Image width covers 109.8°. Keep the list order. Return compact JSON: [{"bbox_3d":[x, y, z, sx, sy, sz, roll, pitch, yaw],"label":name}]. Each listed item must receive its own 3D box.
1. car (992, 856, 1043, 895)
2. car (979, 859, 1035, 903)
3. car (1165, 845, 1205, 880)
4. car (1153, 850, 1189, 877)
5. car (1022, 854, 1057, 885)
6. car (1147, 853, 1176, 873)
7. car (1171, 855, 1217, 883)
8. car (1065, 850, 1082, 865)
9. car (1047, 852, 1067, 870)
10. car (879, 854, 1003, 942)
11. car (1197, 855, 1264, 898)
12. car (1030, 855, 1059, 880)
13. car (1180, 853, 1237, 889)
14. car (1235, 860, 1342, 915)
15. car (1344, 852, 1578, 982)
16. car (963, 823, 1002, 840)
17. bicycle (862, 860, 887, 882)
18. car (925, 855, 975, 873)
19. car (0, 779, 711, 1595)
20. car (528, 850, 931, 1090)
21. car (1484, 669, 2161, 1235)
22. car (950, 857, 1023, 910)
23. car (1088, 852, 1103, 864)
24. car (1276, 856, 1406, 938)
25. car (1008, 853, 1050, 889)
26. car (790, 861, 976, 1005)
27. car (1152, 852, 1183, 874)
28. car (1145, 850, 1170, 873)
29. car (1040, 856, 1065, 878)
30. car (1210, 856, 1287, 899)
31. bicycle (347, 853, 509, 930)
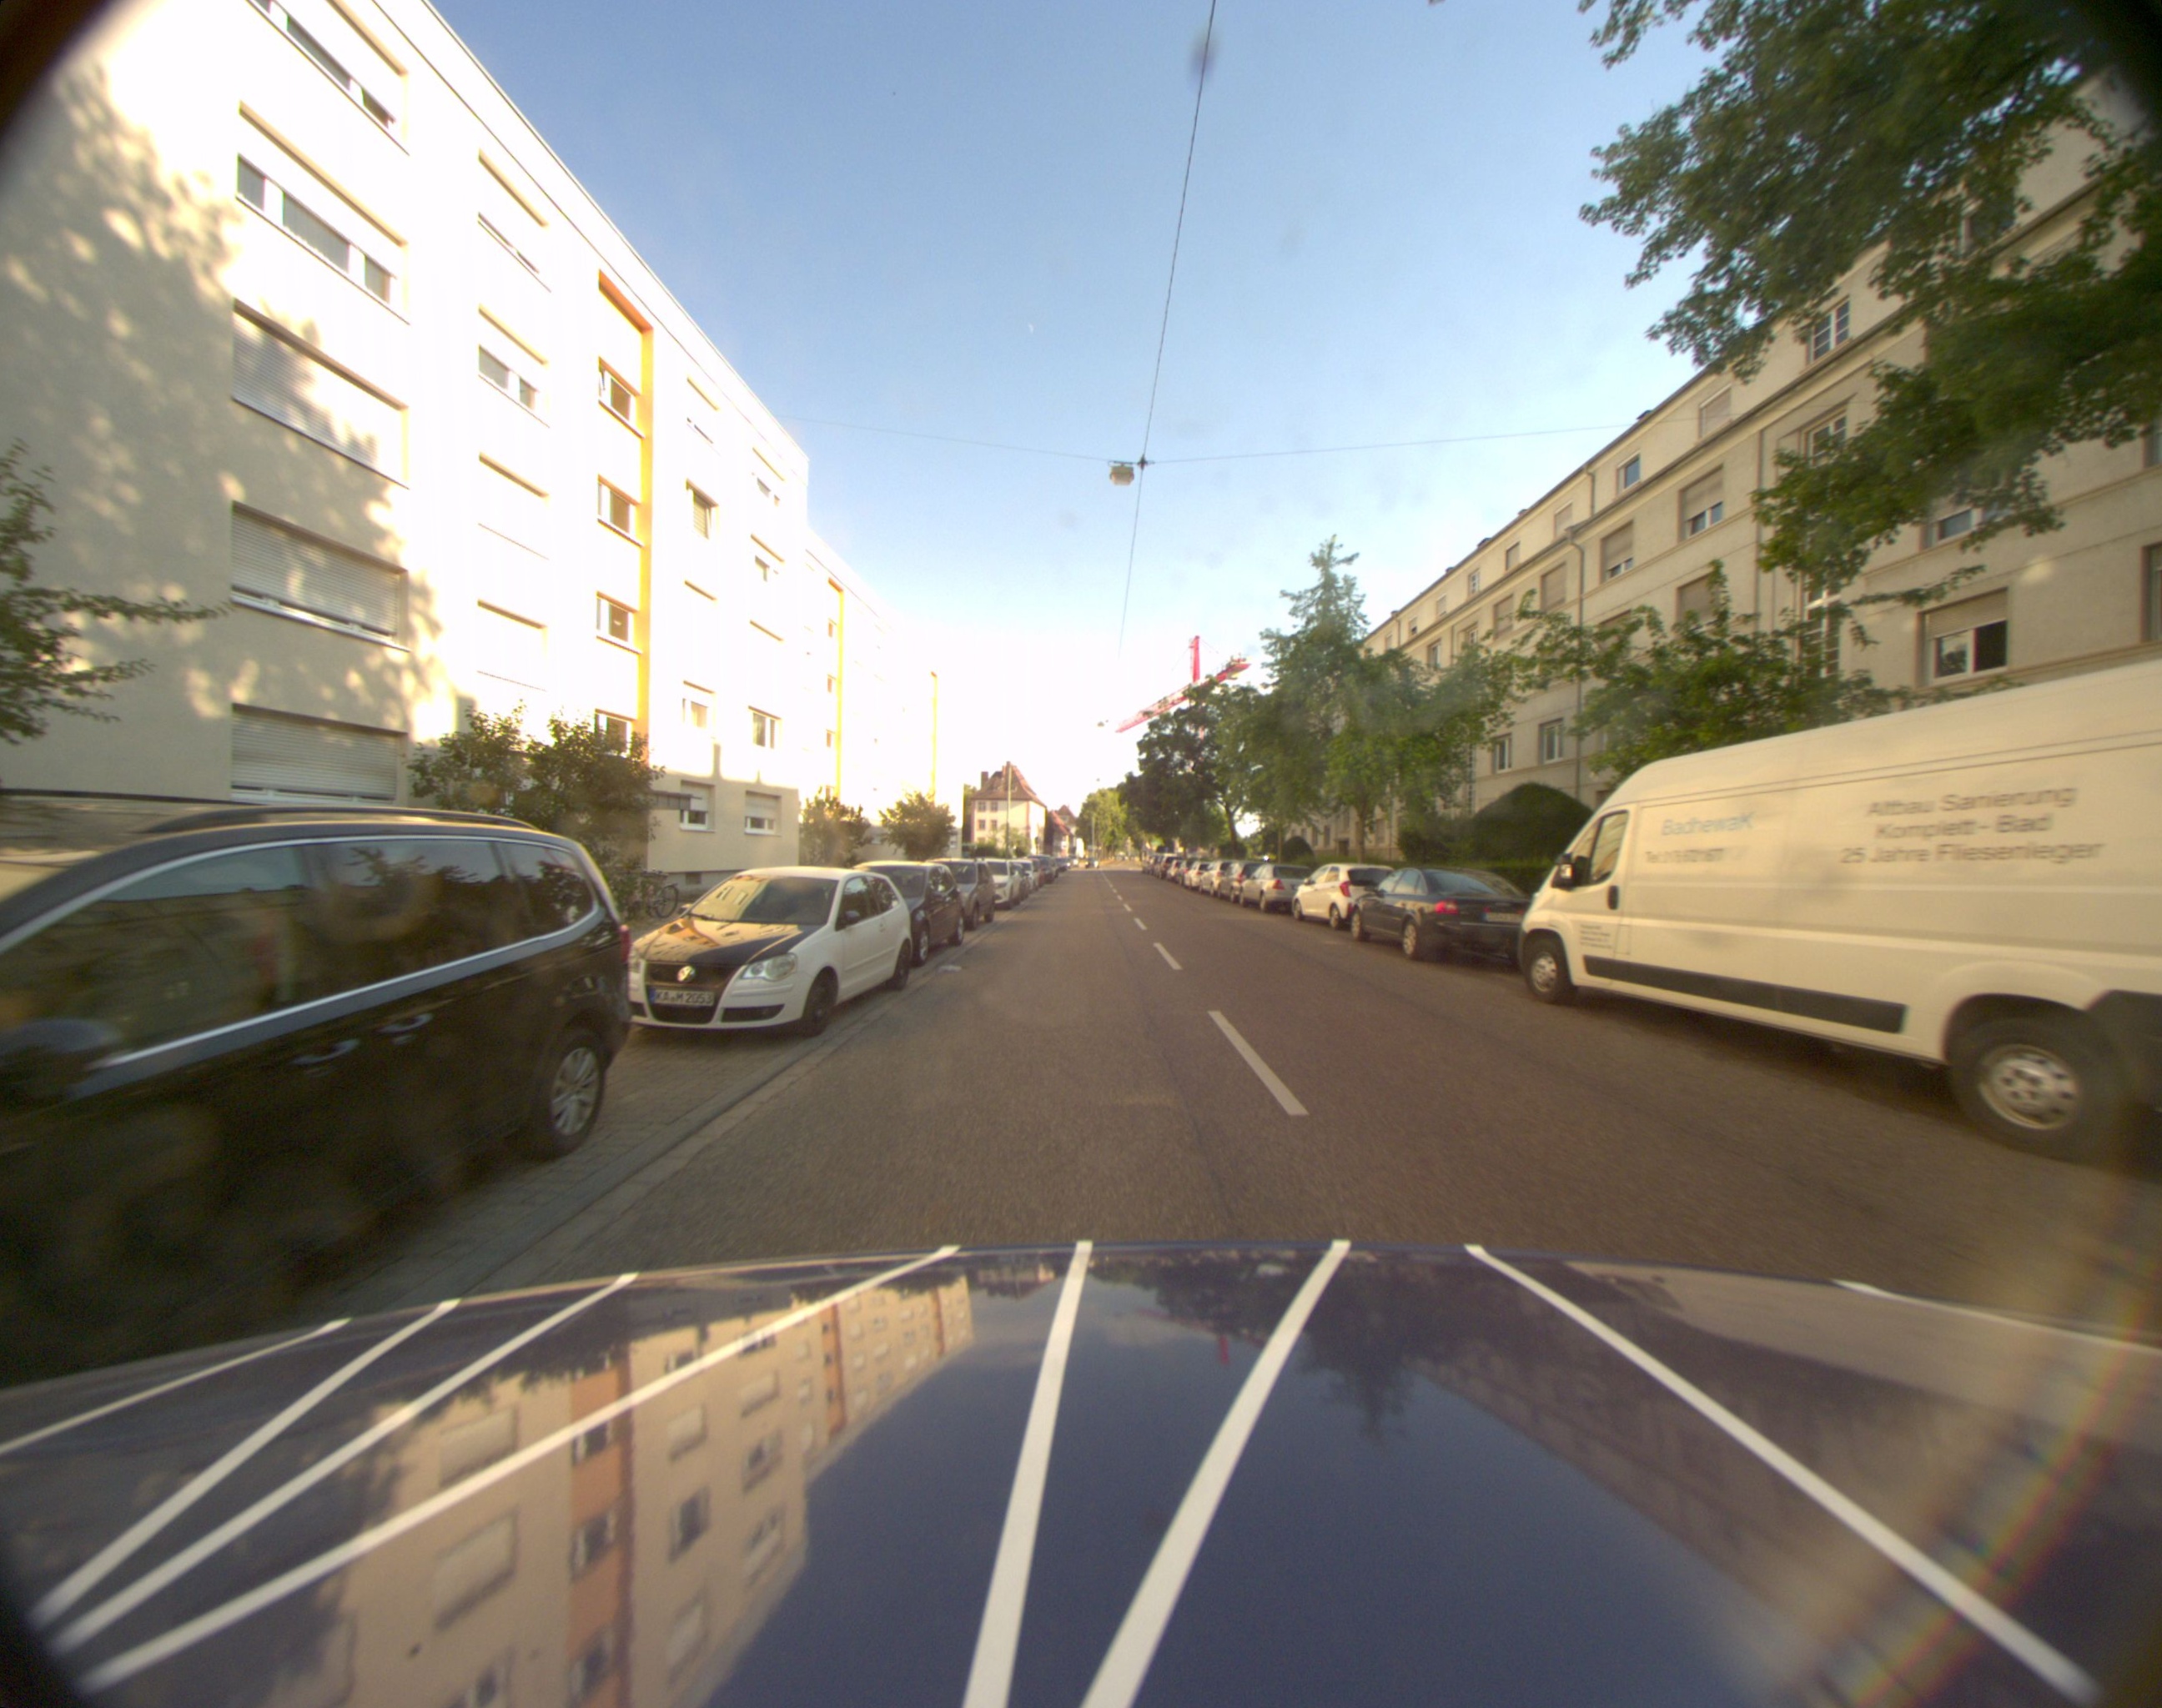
[{"bbox_3d":[-2.838,0.941,34.731,1.776,1.445,3.999,-6,1,1],"label":"car"},{"bbox_3d":[-2.813,1.006,29.616,1.665,1.430,4.312,-2,1,1],"label":"car"},{"bbox_3d":[6.554,0.511,48.395,1.998,2.002,3.999,2,1,1],"label":"car"},{"bbox_3d":[6.339,0.611,54.059,1.878,1.749,4.688,-1,1,-2],"label":"car"},{"bbox_3d":[-2.458,0.901,46.005,1.776,1.668,4.645,1,1,1],"label":"car"},{"bbox_3d":[6.798,0.728,64.631,1.878,1.543,3.998,-3,1,-1],"label":"car"},{"bbox_3d":[6.471,0.835,43.987,1.878,1.426,4.802,0,1,-1],"label":"car"},{"bbox_3d":[-1.065,0.467,106.403,1.925,1.769,4.810,4,1,3],"label":"car"},{"bbox_3d":[-2.420,0.663,75.716,1.891,1.552,4.944,2,1,-2],"label":"car"},{"bbox_3d":[-3.118,0.908,17.852,1.967,1.596,4.278,4,1,1],"label":"car"},{"bbox_3d":[6.279,0.886,32.342,1.878,1.543,3.998,3,1,-1],"label":"car"},{"bbox_3d":[-2.380,0.869,50.454,1.776,1.499,3.999,-2,1,-1],"label":"car"},{"bbox_3d":[6.237,0.792,37.720,2.009,1.543,4.470,-2,1,-1],"label":"car"},{"bbox_3d":[6.061,0.916,22.818,1.878,1.348,4.652,-1,1,-1],"label":"car"},{"bbox_3d":[5.744,0.835,12.075,1.711,1.565,3.818,4,1,0],"label":"car"},{"bbox_3d":[-10.919,-2.472,84.457,3.996,1.784,2.000,-2,1,1],"label":"car"},{"bbox_3d":[-9.384,0.770,34.656,0.438,0.936,1.791,-1,1,6],"label":"bicycle"},{"bbox_3d":[-12.758,0.945,74.227,4.486,1.593,1.732,1,2,4],"label":"car"},{"bbox_3d":[-3.268,0.650,2.093,2.029,1.739,4.766,4,0,0],"label":"car"},{"bbox_3d":[-2.931,0.818,7.505,1.841,1.493,4.172,5,1,2],"label":"car"},{"bbox_3d":[5.885,0.409,5.750,2.364,2.431,6.164,2,1,1],"label":"car"},{"bbox_3d":[-2.932,0.866,24.302,1.878,1.434,3.999,2,1,-1],"label":"car"},{"bbox_3d":[1.831,0.524,98.815,1.775,1.492,3.673,0,0,-2],"label":"car"},{"bbox_3d":[5.920,0.914,17.708,1.712,1.565,3.260,4,1,-2],"label":"car"},{"bbox_3d":[-2.717,0.866,40.434,1.776,1.607,3.999,-6,1,1],"label":"car"},{"bbox_3d":[-3.022,1.111,12.502,1.842,1.762,3.978,4,1,1],"label":"car"},{"bbox_3d":[6.787,0.673,60.172,1.878,1.543,3.999,-2,1,-1],"label":"car"},{"bbox_3d":[6.966,0.646,69.577,1.846,1.885,4.486,-4,1,2],"label":"car"},{"bbox_3d":[-2.118,0.927,57.322,1.803,1.498,4.620,0,1,-1],"label":"car"},{"bbox_3d":[6.095,0.809,28.052,1.878,1.348,3.999,-2,1,-1],"label":"car"},{"bbox_3d":[-10.932,0.577,12.865,0.494,1.107,2.394,4,1,4],"label":"bicycle"}]
